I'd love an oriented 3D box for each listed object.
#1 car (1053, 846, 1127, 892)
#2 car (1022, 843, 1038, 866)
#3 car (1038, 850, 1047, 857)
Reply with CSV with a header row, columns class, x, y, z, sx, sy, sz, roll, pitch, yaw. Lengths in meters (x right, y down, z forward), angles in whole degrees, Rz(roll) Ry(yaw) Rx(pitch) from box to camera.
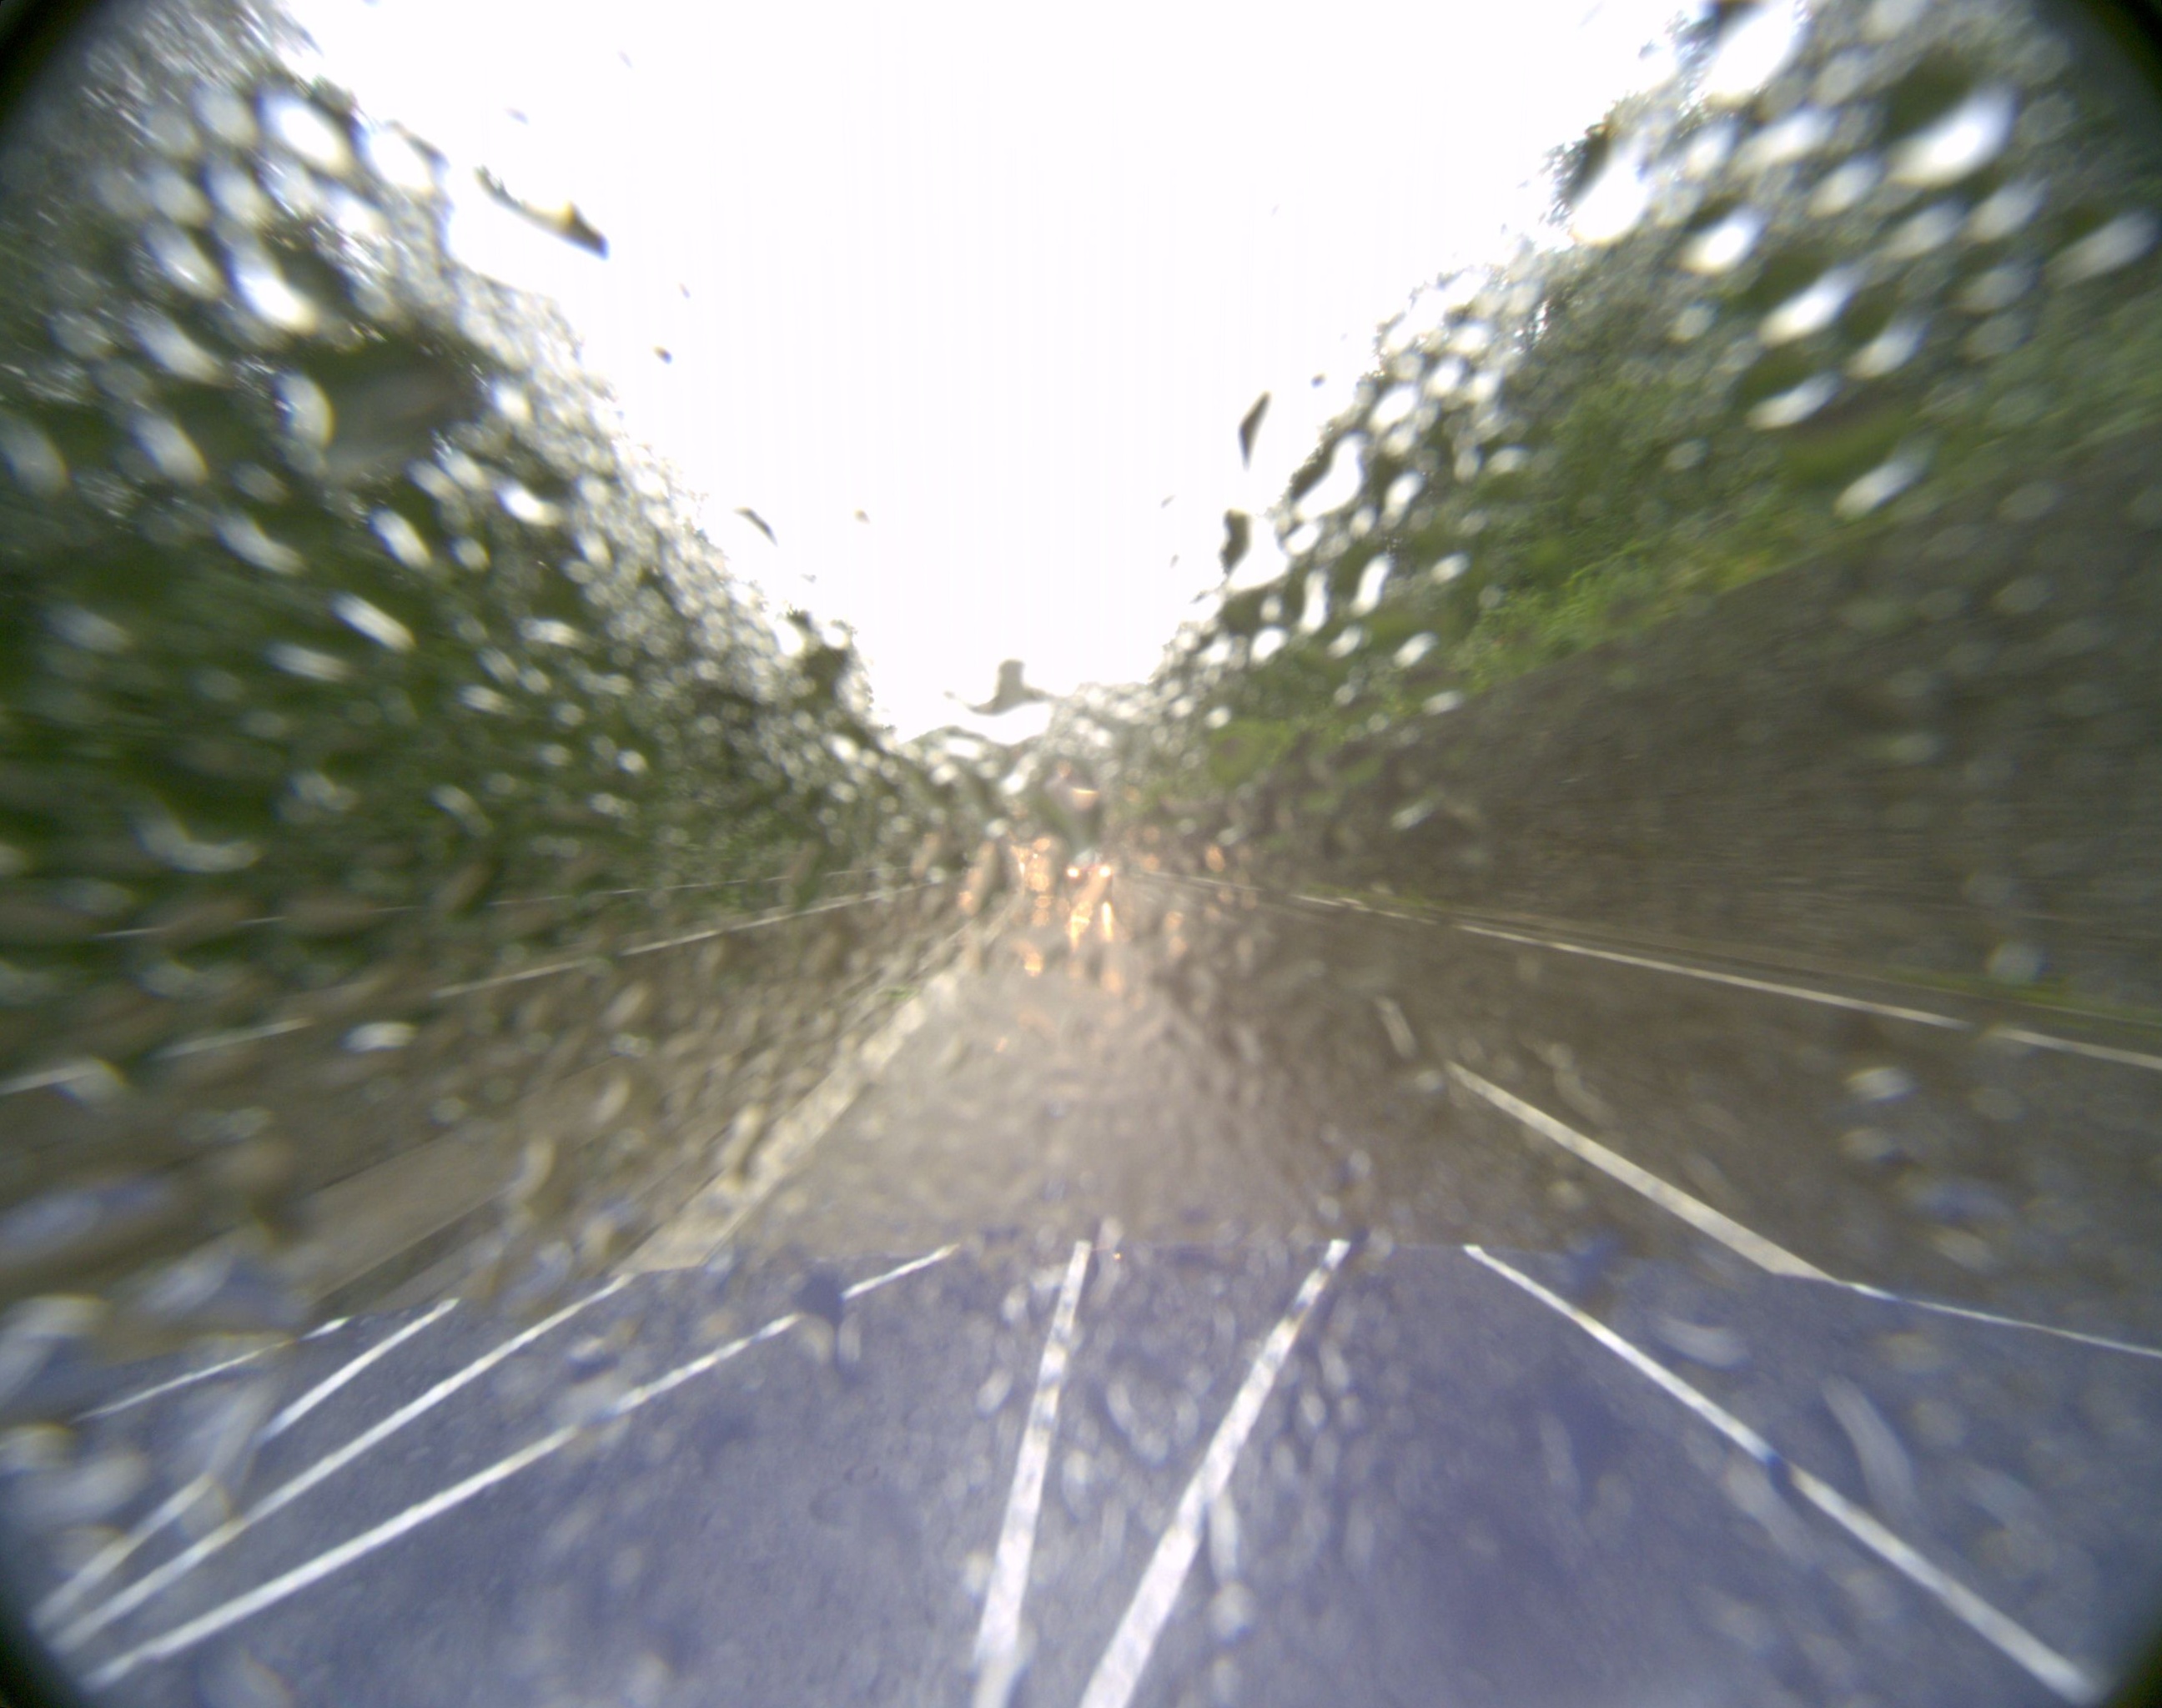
class,x,y,z,sx,sy,sz,roll,pitch,yaw
car,0.222,0.509,29.345,2.360,1.549,5.496,-1,0,-4
car,-6.816,0.040,101.152,1.743,3.008,3.996,2,1,-7
car,-8.833,-0.155,172.927,1.774,1.465,3.999,-2,1,0
